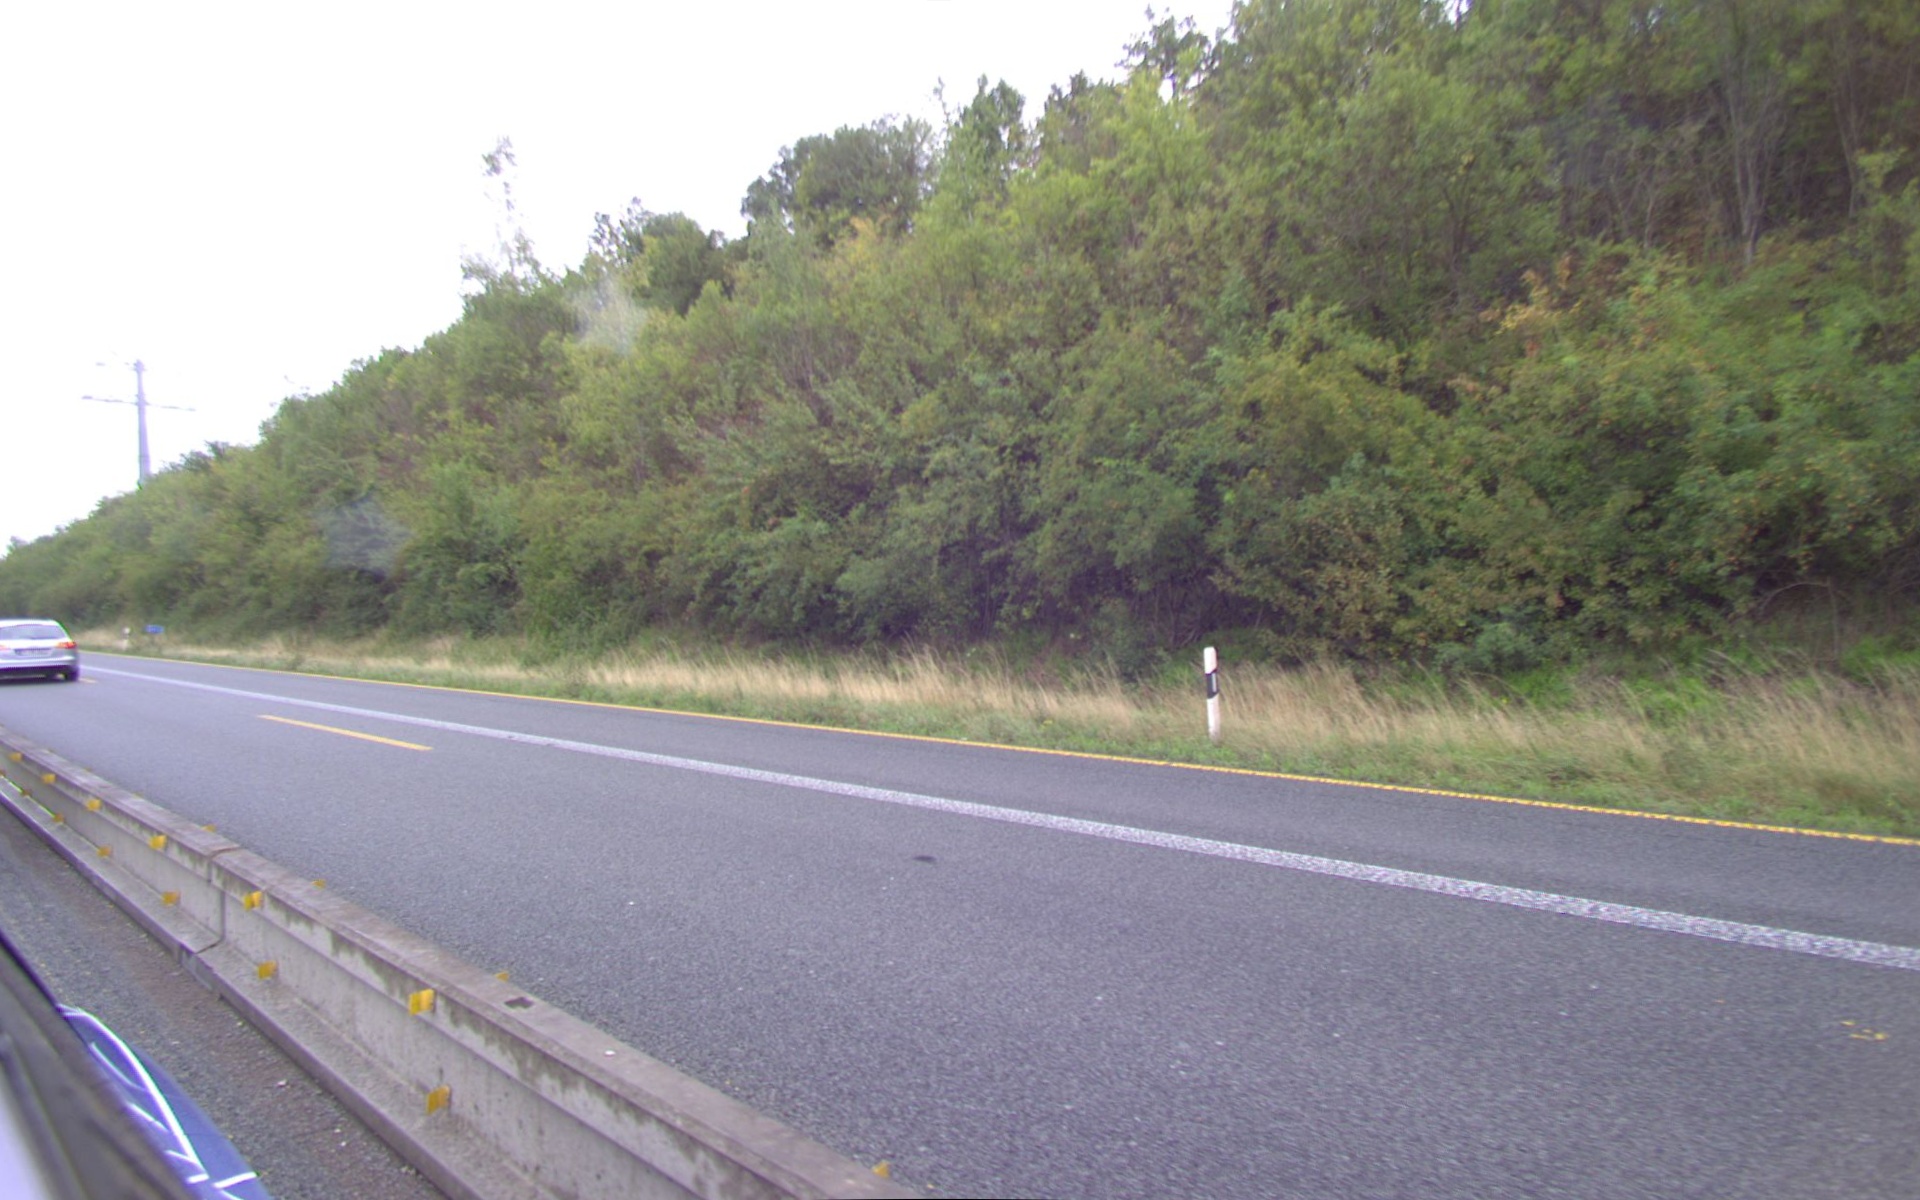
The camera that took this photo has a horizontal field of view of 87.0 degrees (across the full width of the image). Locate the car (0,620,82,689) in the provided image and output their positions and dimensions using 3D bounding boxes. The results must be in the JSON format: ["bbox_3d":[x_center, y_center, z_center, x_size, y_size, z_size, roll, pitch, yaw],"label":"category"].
[{"bbox_3d":[-22.255,1.229,23.824,4.325,1.454,1.762,-1,0,40],"label":"car"}]
